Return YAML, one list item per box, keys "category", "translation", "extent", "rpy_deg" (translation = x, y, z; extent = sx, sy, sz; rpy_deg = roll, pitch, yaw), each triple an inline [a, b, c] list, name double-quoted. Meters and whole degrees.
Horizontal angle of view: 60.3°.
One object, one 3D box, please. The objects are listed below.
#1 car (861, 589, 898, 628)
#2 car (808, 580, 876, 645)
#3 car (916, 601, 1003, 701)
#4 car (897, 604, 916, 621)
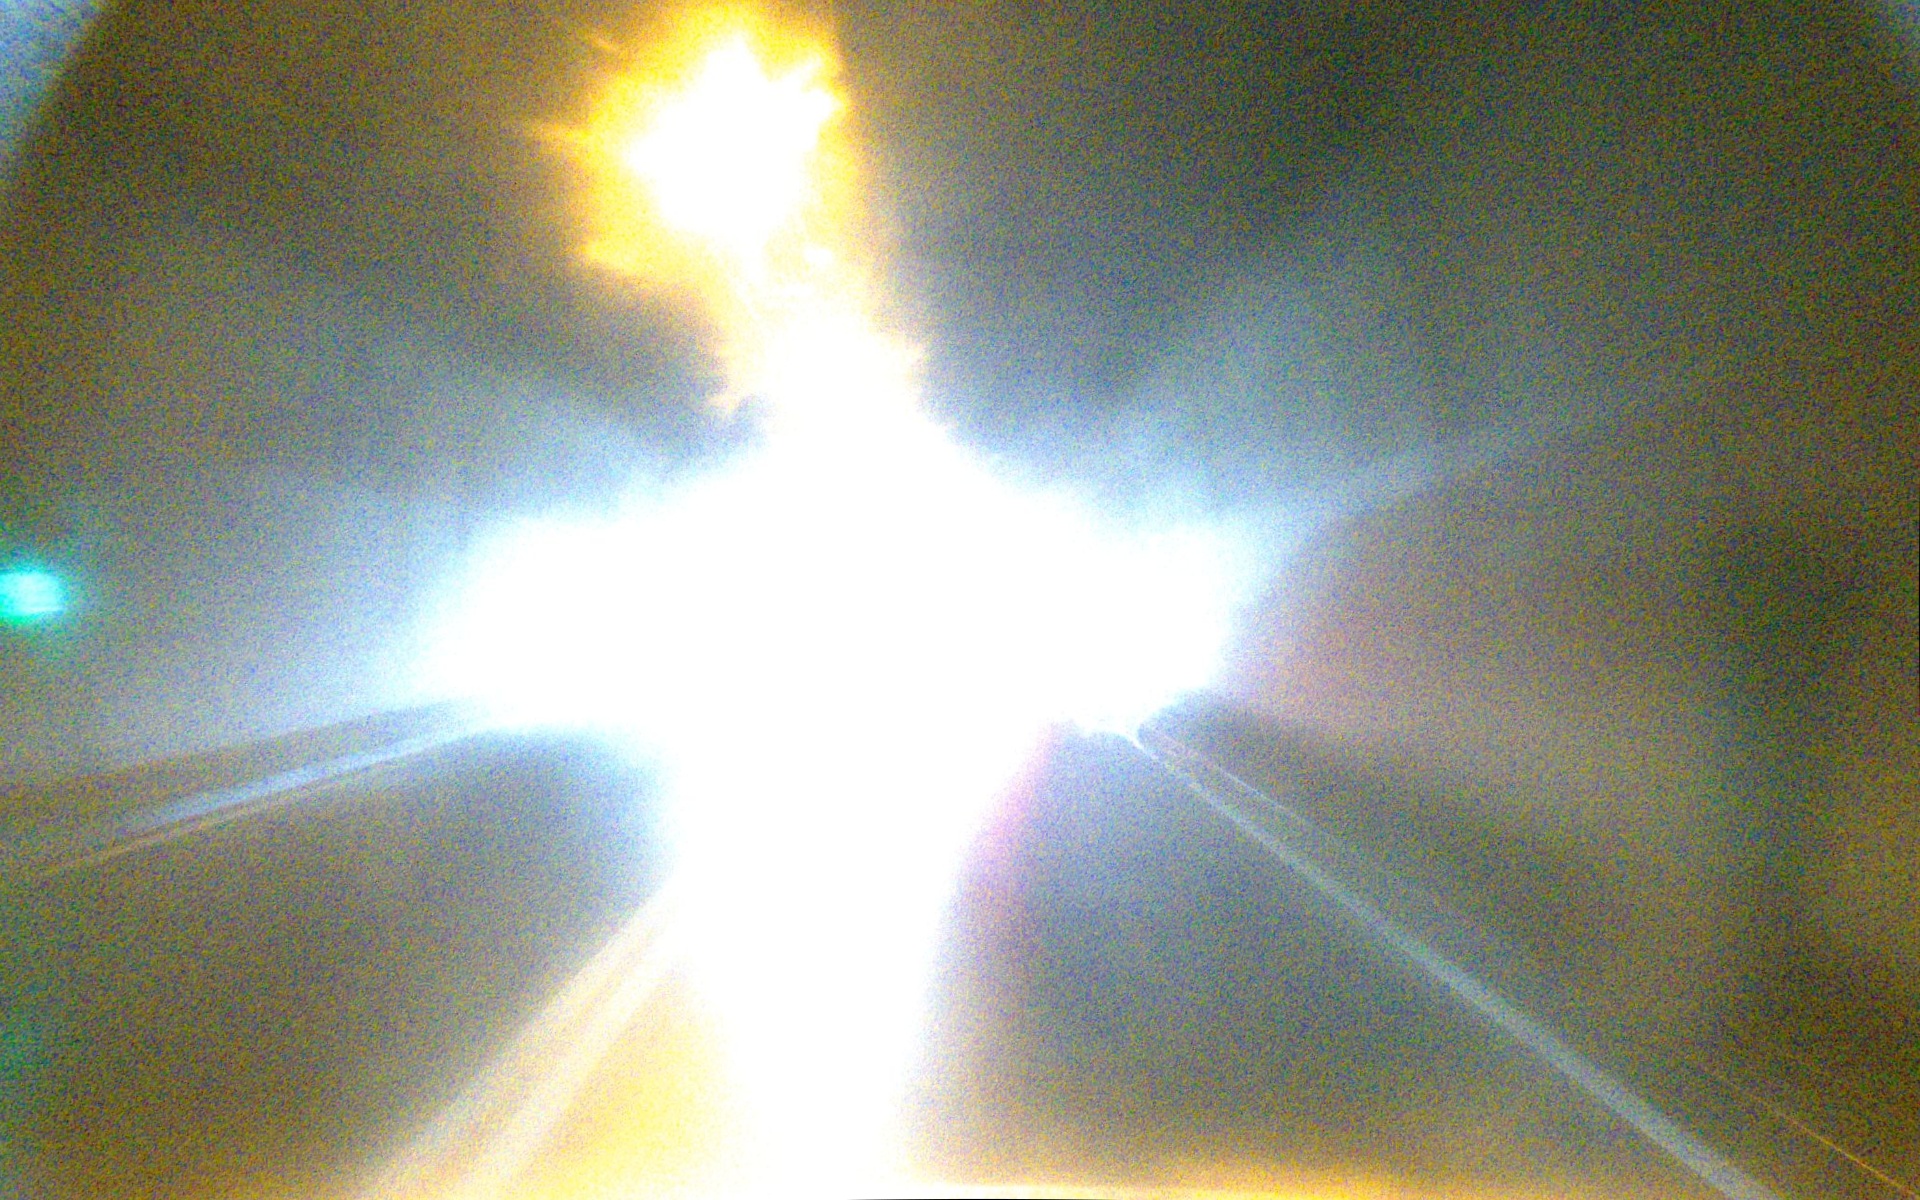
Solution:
- category: "car"
  translation: [-4.119, 0.421, 85.292]
  extent: [1.725, 1.933, 4.608]
  rpy_deg: [0, 0, 0]
- category: "car"
  translation: [-3.645, 0.357, 51.702]
  extent: [1.803, 1.933, 4.608]
  rpy_deg: [0, 0, 0]
- category: "car"
  translation: [-0.021, 0.938, 32.503]
  extent: [1.602, 1.788, 4.145]
  rpy_deg: [0, 0, 0]
- category: "car"
  translation: [-4.978, 1.135, 154.153]
  extent: [1.602, 1.562, 3.645]
  rpy_deg: [0, 0, 0]
